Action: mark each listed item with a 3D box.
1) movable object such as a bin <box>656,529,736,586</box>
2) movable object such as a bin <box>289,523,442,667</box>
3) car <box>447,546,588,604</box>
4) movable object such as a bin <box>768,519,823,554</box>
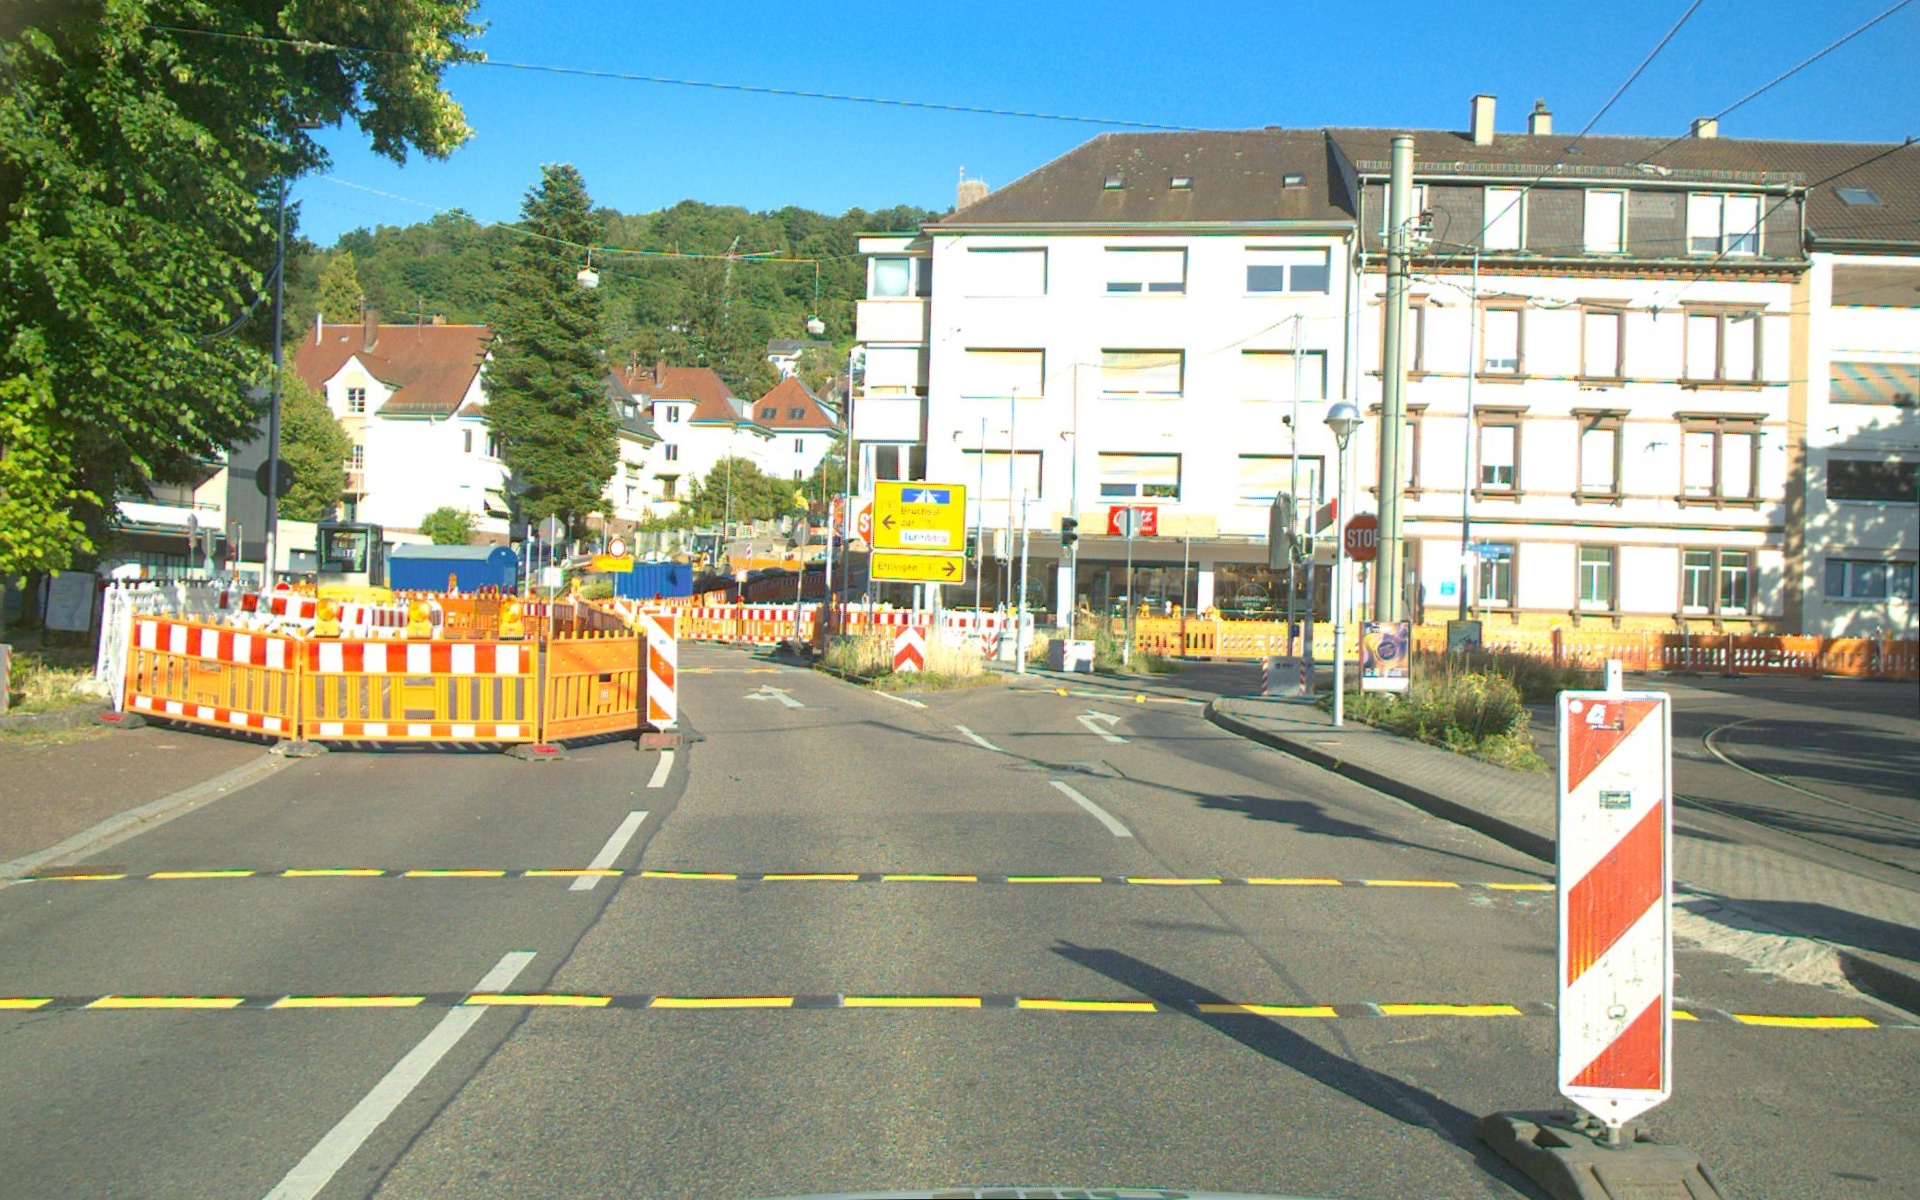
[{"bbox_3d":[-12.529,-2.006,78.790,1.907,2.538,4.554,1,0,17],"label":"movable object such as a bin"},{"bbox_3d":[-10.452,-0.096,29.340,1.615,2.365,3.916,1,0,-6],"label":"movable object such as a bin"},{"bbox_3d":[-17.510,-0.944,65.887,2.529,2.158,6.154,1,0,17],"label":"car"},{"bbox_3d":[-11.369,-4.394,114.740,2.510,2.159,5.789,1,0,8],"label":"movable object such as a bin"}]
